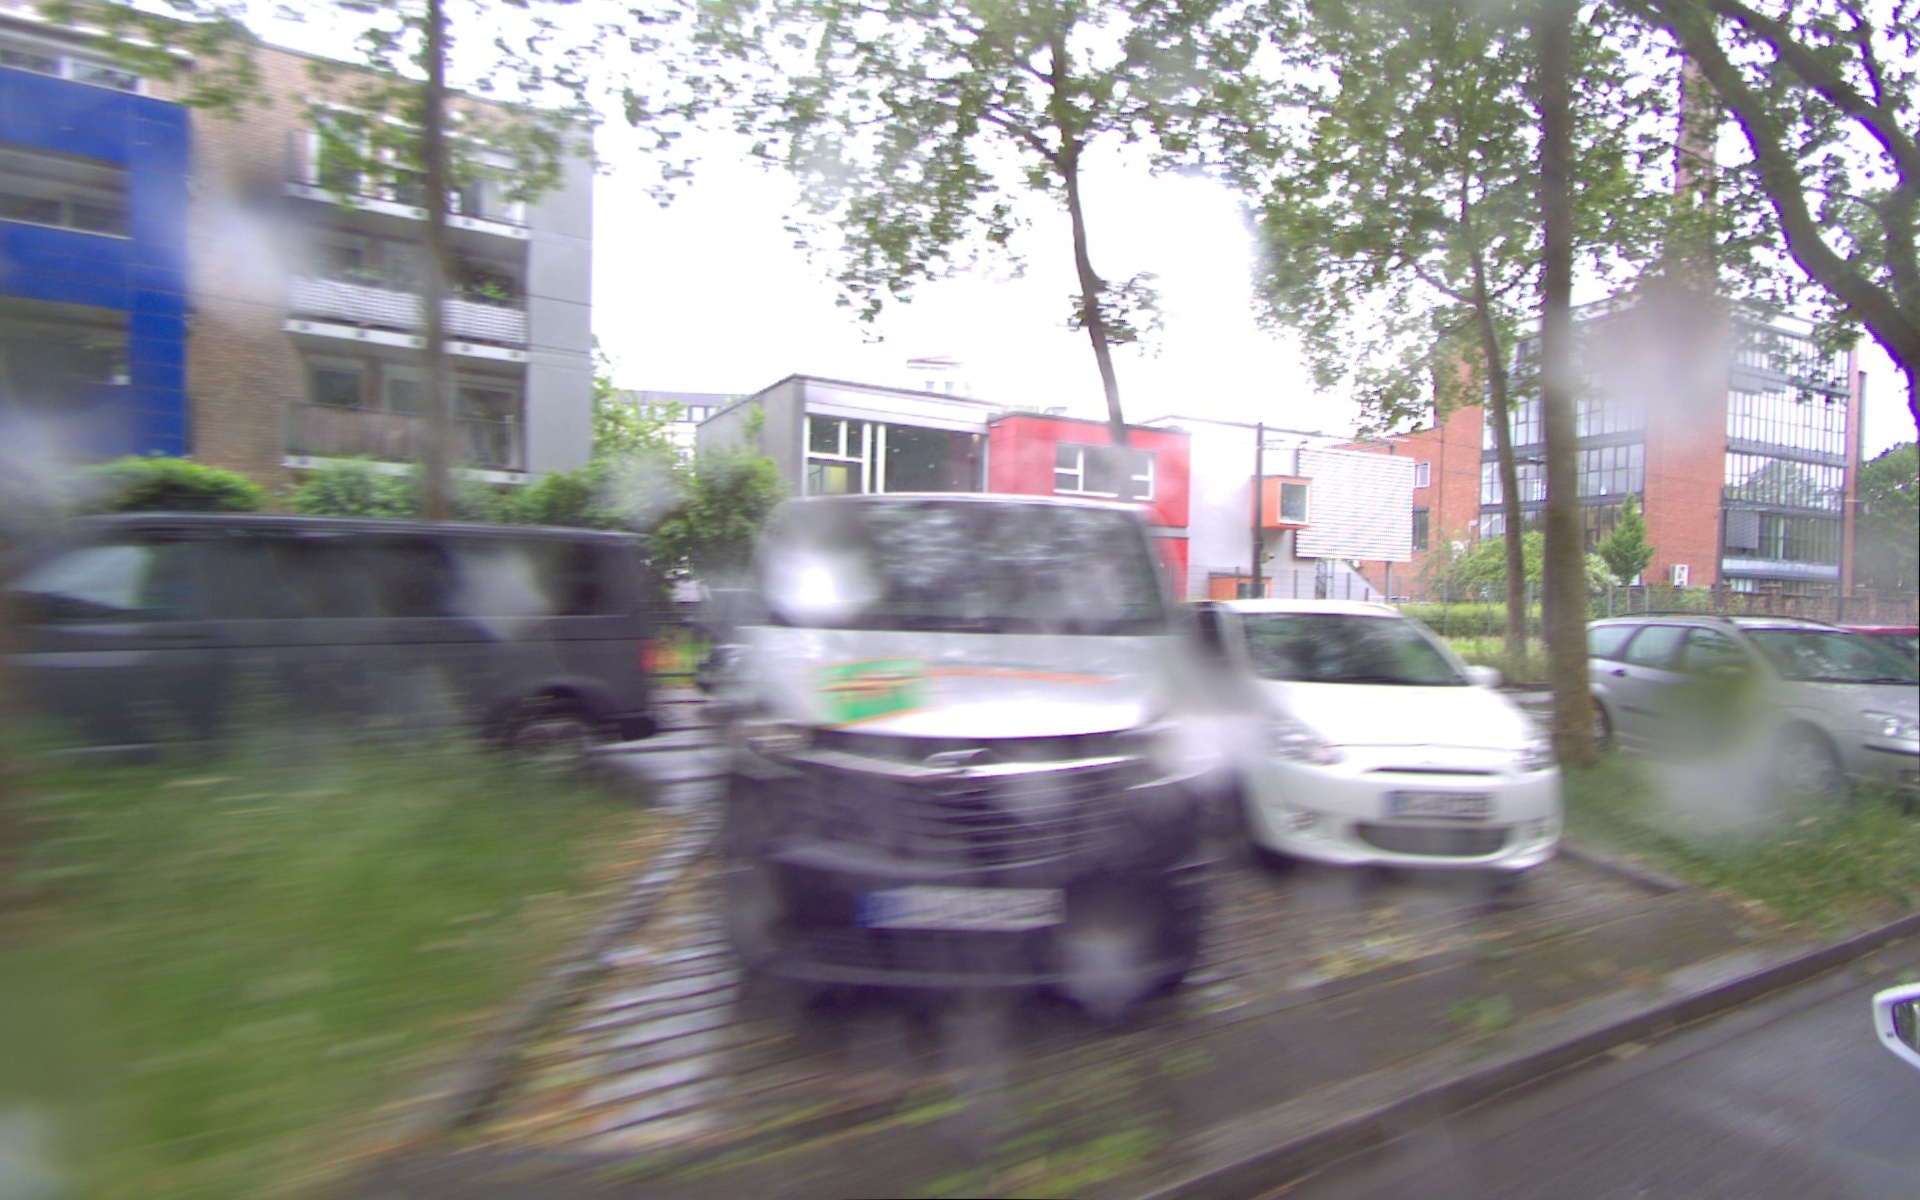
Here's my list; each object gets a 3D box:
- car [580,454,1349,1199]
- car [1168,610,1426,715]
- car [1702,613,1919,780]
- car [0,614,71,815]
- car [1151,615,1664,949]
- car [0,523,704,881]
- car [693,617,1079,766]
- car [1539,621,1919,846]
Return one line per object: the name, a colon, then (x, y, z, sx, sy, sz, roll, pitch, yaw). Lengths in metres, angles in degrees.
car: (0.054, 0.661, 5.285, 2.061, 2.003, 5.133, 1, -1, 1)
car: (5.652, 0.979, 16.814, 3.953, 1.528, 1.984, 2, 0, -30)
car: (9.728, 0.917, 10.165, 1.688, 1.541, 3.818, 1, -1, 1)
car: (-9.634, 0.893, 7.444, 4.186, 1.540, 1.985, 0, 0, -29)
car: (2.402, 0.862, 6.481, 1.688, 1.501, 3.787, 1, -1, 1)
car: (-4.627, 0.585, 7.361, 4.970, 2.041, 1.984, 1, 1, -31)
car: (-0.832, 0.954, 12.062, 4.225, 1.439, 1.982, 0, 0, -33)
car: (7.386, 0.961, 9.047, 1.740, 1.501, 4.561, 1, -1, 0)
